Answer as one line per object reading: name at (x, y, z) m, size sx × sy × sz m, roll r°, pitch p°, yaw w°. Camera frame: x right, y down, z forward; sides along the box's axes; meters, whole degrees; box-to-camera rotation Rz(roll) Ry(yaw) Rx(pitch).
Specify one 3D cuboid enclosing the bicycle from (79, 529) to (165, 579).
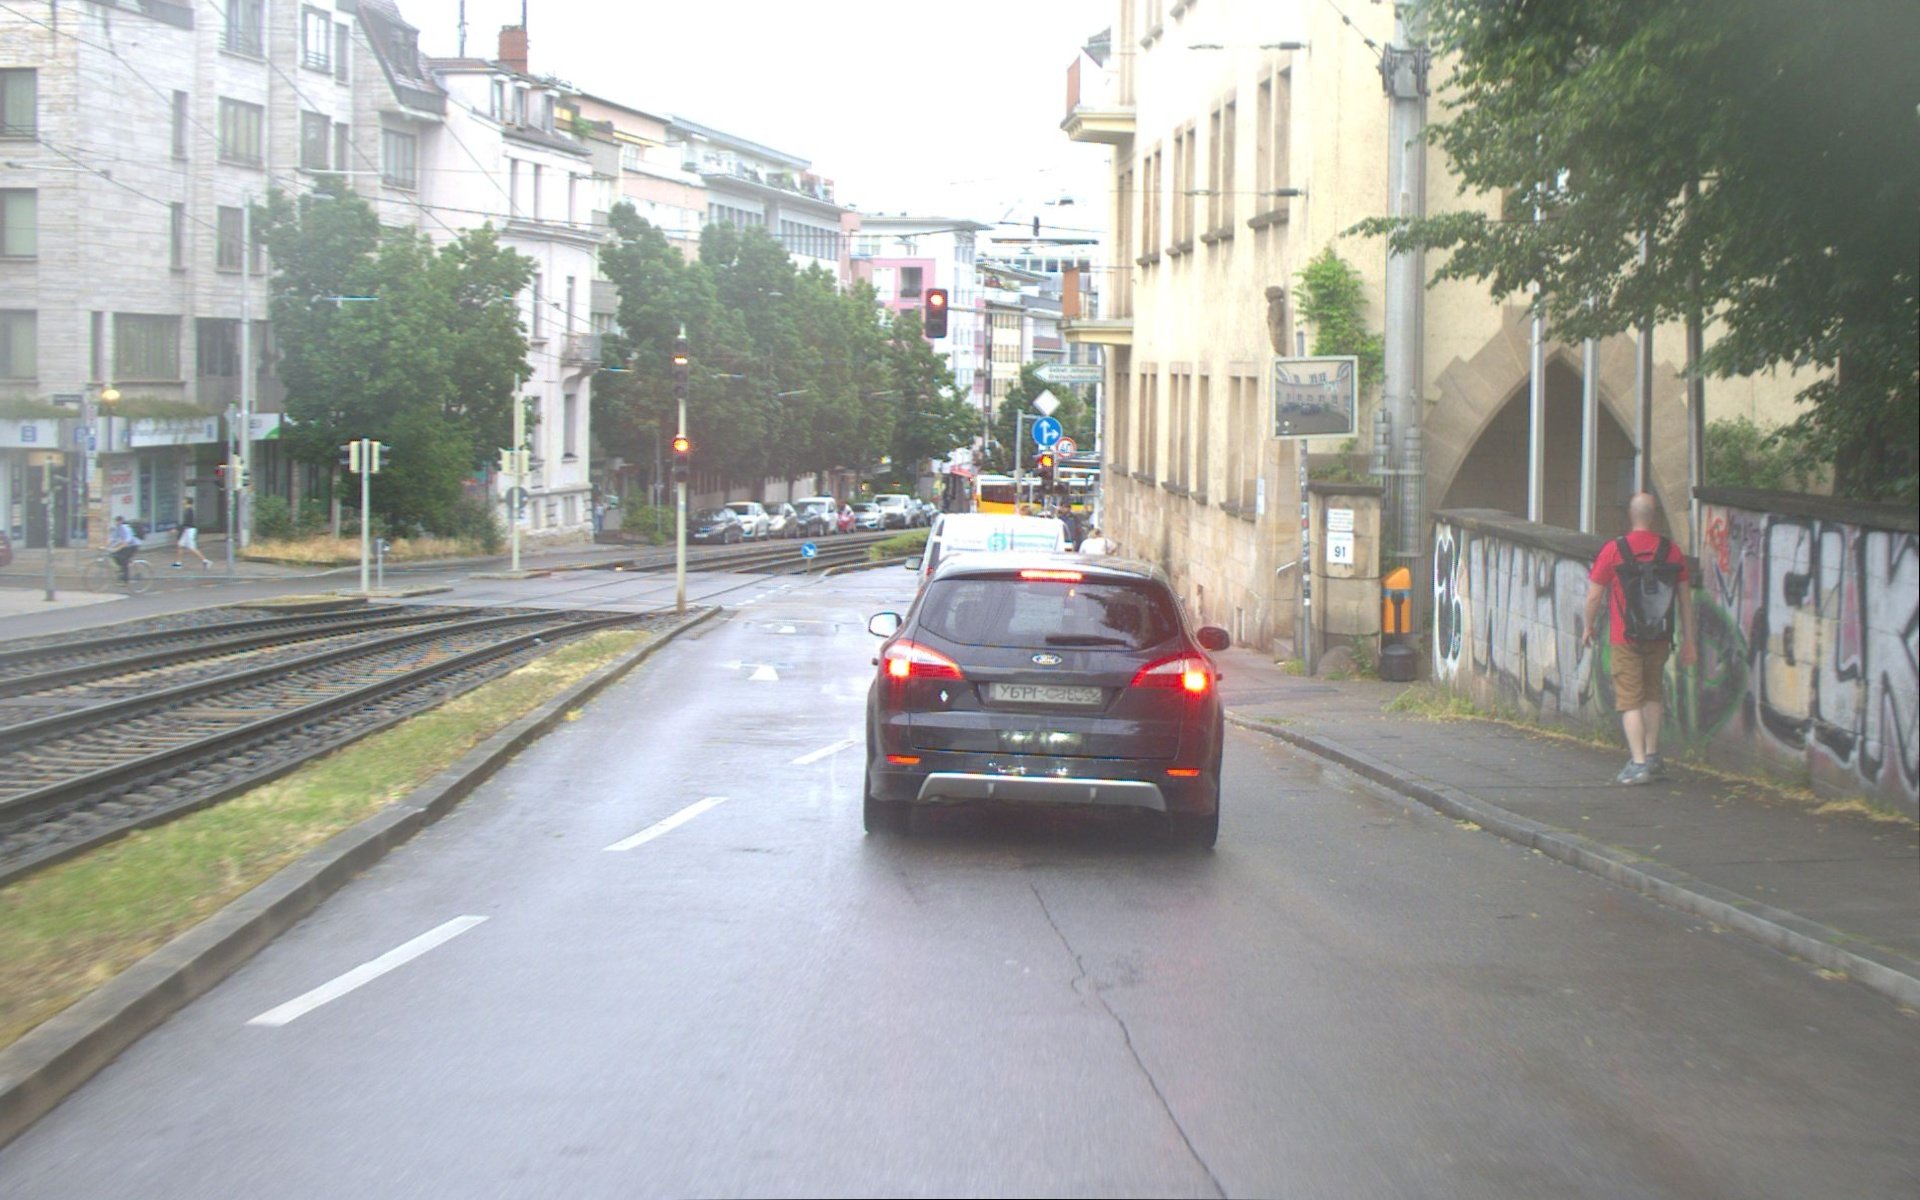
bicycle at (-18.437, -1.011, 75.632) m, size 1.797 × 1.060 × 0.457 m, roll 1°, pitch 2°, yaw -39°

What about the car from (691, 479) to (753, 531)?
car at (-9.479, -3.768, 137.022) m, size 1.994 × 2.007 × 4.000 m, roll 1°, pitch 1°, yaw 3°

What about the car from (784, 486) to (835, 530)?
car at (-7.000, -4.297, 160.562) m, size 1.994 × 2.007 × 4.000 m, roll 1°, pitch 1°, yaw 3°

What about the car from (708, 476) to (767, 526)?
car at (-9.270, -4.115, 143.319) m, size 1.994 × 2.007 × 4.000 m, roll 1°, pitch 1°, yaw 3°

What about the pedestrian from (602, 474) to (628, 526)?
pedestrian at (-13.506, -3.903, 134.561) m, size 0.941 × 2.007 × 0.765 m, roll 1°, pitch 1°, yaw -11°

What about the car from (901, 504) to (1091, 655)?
car at (0.498, -0.297, 42.446) m, size 2.137 × 1.739 × 4.218 m, roll 0°, pitch 2°, yaw 3°

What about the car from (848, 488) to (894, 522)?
car at (-4.483, -4.805, 173.580) m, size 1.994 × 1.656 × 4.000 m, roll 1°, pitch 1°, yaw 3°

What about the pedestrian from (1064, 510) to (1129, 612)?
pedestrian at (2.424, -0.694, 61.233) m, size 1.045 × 1.789 × 0.902 m, roll 1°, pitch 1°, yaw -4°

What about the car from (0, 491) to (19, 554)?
car at (-25.873, -1.968, 85.910) m, size 4.134 × 1.563 × 1.823 m, roll 1°, pitch 1°, yaw 7°

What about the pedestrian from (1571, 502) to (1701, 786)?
pedestrian at (4.146, 0.258, 21.128) m, size 0.632 × 1.715 × 0.711 m, roll 0°, pitch 1°, yaw -1°

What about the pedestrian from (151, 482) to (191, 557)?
pedestrian at (-20.579, -2.106, 89.681) m, size 0.905 × 1.925 × 0.825 m, roll 1°, pitch 1°, yaw -5°

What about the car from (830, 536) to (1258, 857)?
car at (0.332, 0.437, 18.495) m, size 1.920 × 1.474 × 4.001 m, roll 2°, pitch 1°, yaw -3°

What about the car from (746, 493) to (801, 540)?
car at (-8.100, -3.633, 149.662) m, size 1.994 × 2.007 × 4.000 m, roll 1°, pitch 1°, yaw 3°

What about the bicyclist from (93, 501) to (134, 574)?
bicyclist at (-18.593, -1.375, 75.488) m, size 0.700 × 1.568 × 0.462 m, roll 1°, pitch 1°, yaw -39°
